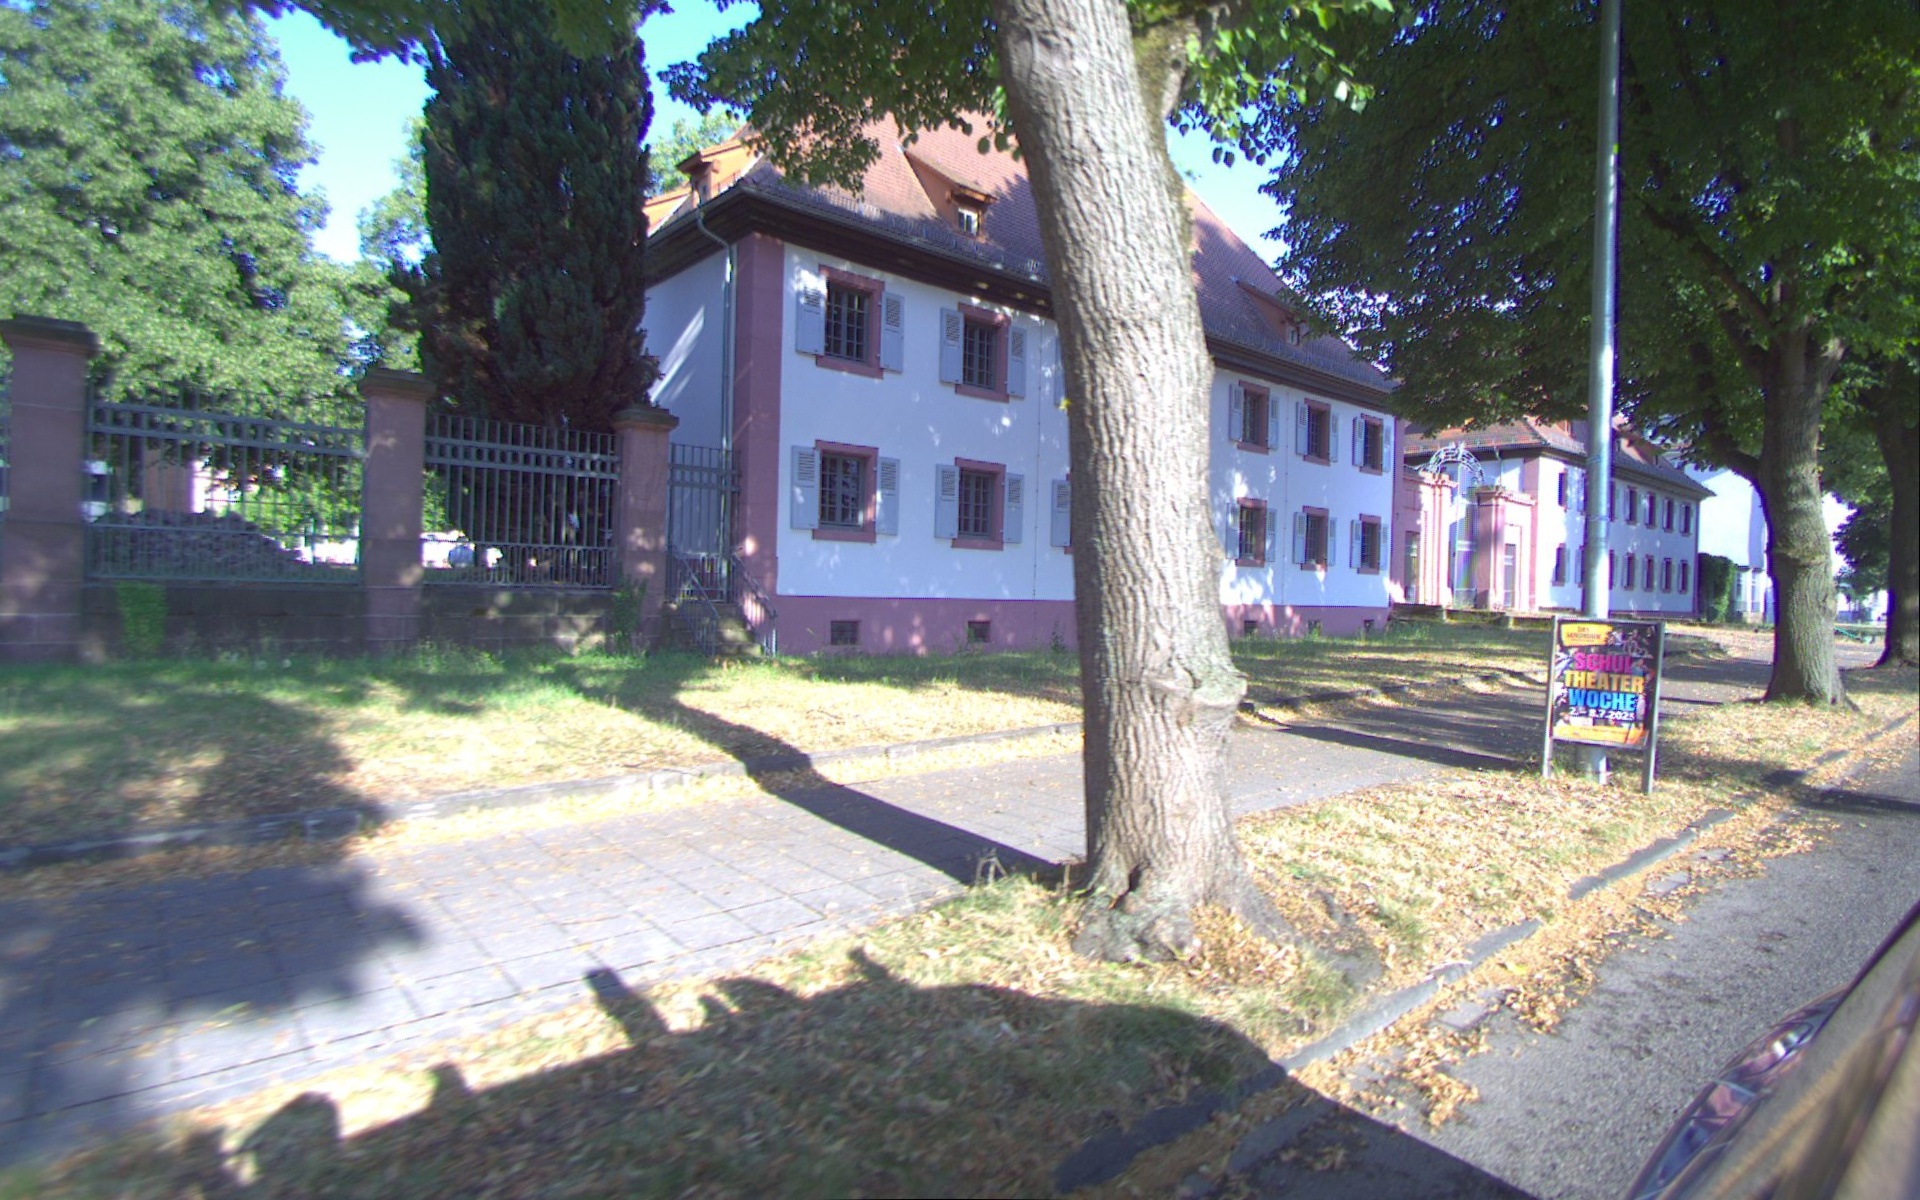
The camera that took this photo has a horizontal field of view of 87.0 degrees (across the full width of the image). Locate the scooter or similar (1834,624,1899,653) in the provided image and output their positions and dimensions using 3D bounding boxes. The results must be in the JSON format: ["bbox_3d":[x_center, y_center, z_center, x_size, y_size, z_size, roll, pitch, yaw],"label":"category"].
[{"bbox_3d":[30.444,1.271,33.995,1.042,0.553,1.236,-2,18,-25],"label":"scooter or similar"}]
